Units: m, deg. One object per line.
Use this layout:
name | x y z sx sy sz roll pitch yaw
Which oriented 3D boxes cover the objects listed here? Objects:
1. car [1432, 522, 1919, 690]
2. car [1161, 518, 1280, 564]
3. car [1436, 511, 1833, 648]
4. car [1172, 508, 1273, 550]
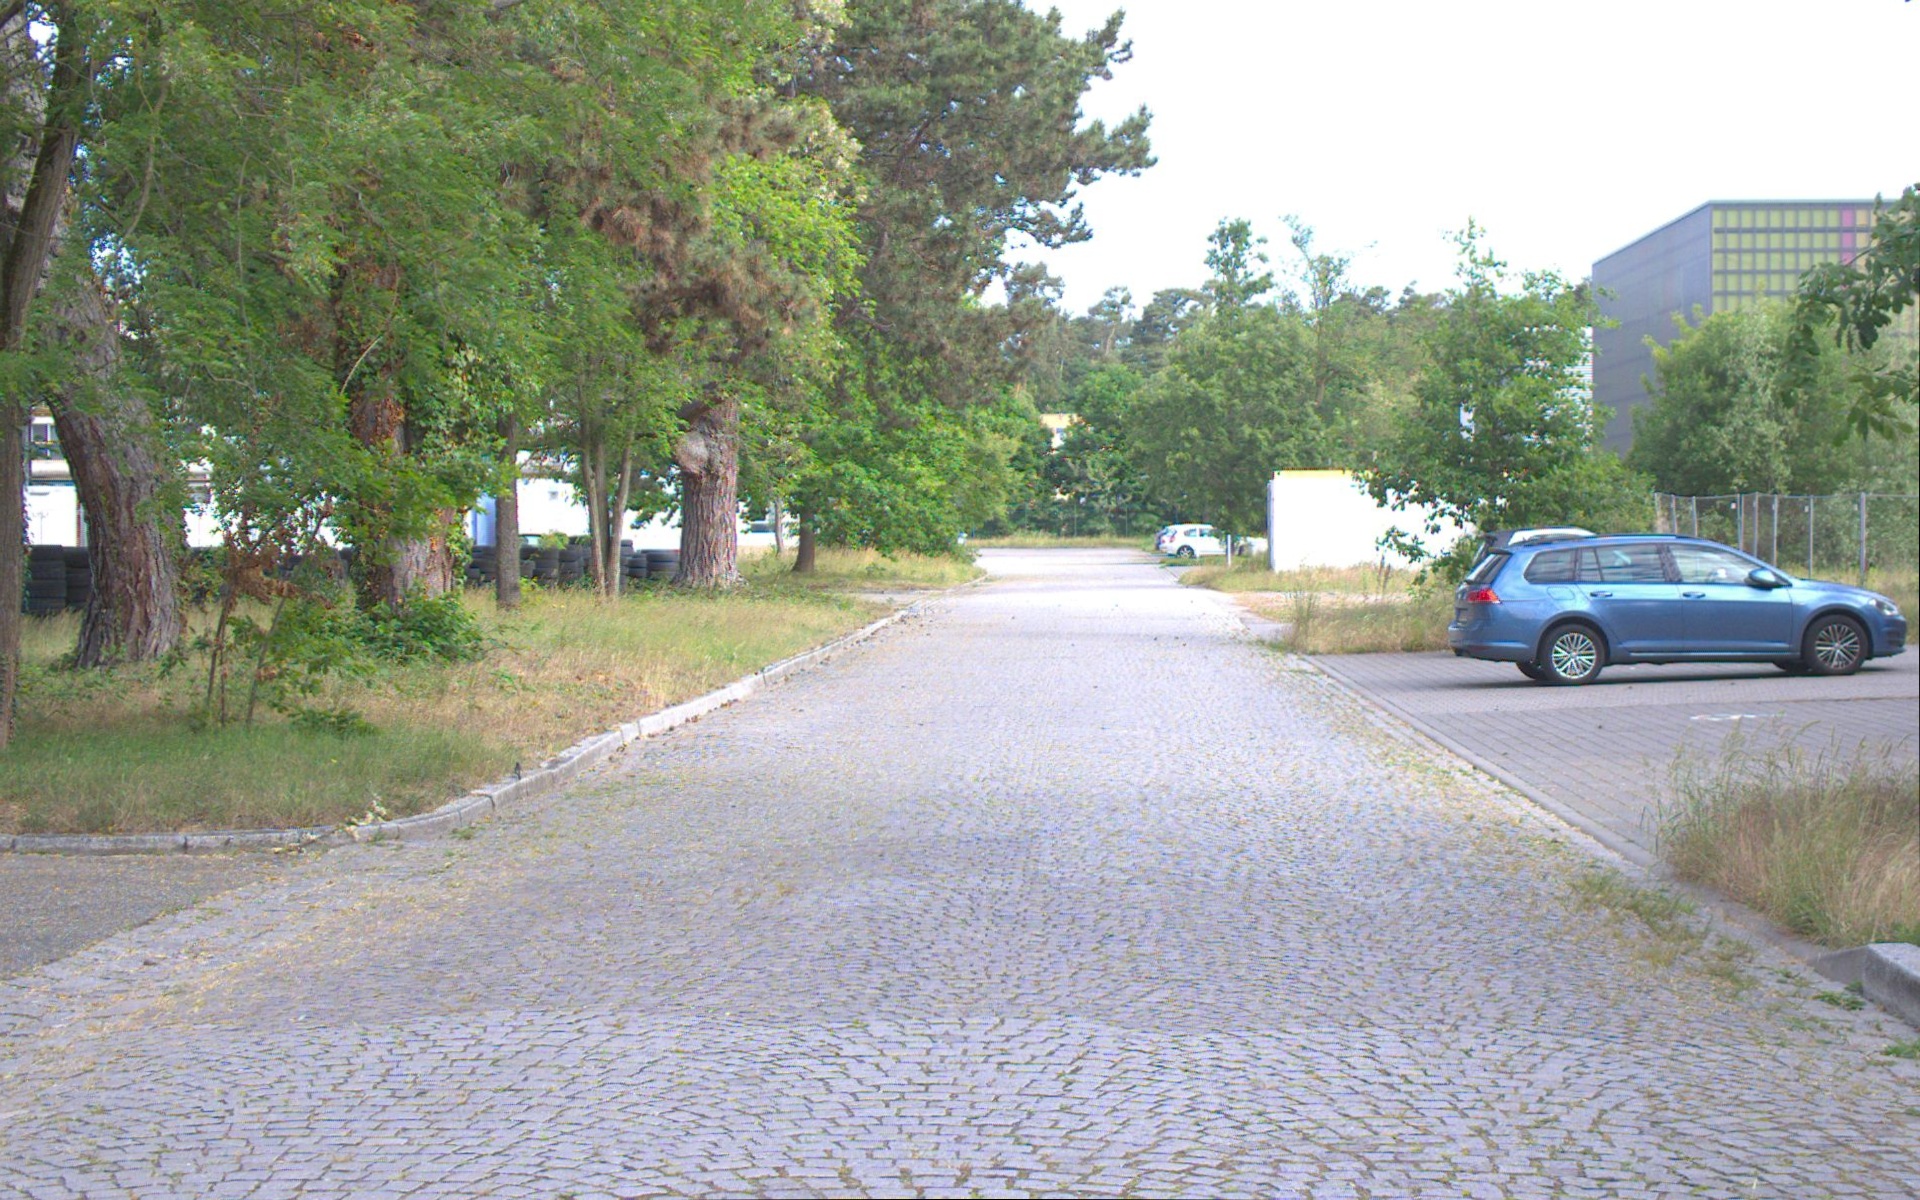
car | 7.211 0.038 34.875 4.517 1.526 2.000 -2 1 -1
car | 9.712 -2.205 128.463 4.355 1.682 1.925 0 1 2
car | 8.224 -0.269 42.256 4.518 1.526 2.000 -2 1 3
car | 11.390 -3.091 149.389 4.355 1.774 1.925 0 1 4
